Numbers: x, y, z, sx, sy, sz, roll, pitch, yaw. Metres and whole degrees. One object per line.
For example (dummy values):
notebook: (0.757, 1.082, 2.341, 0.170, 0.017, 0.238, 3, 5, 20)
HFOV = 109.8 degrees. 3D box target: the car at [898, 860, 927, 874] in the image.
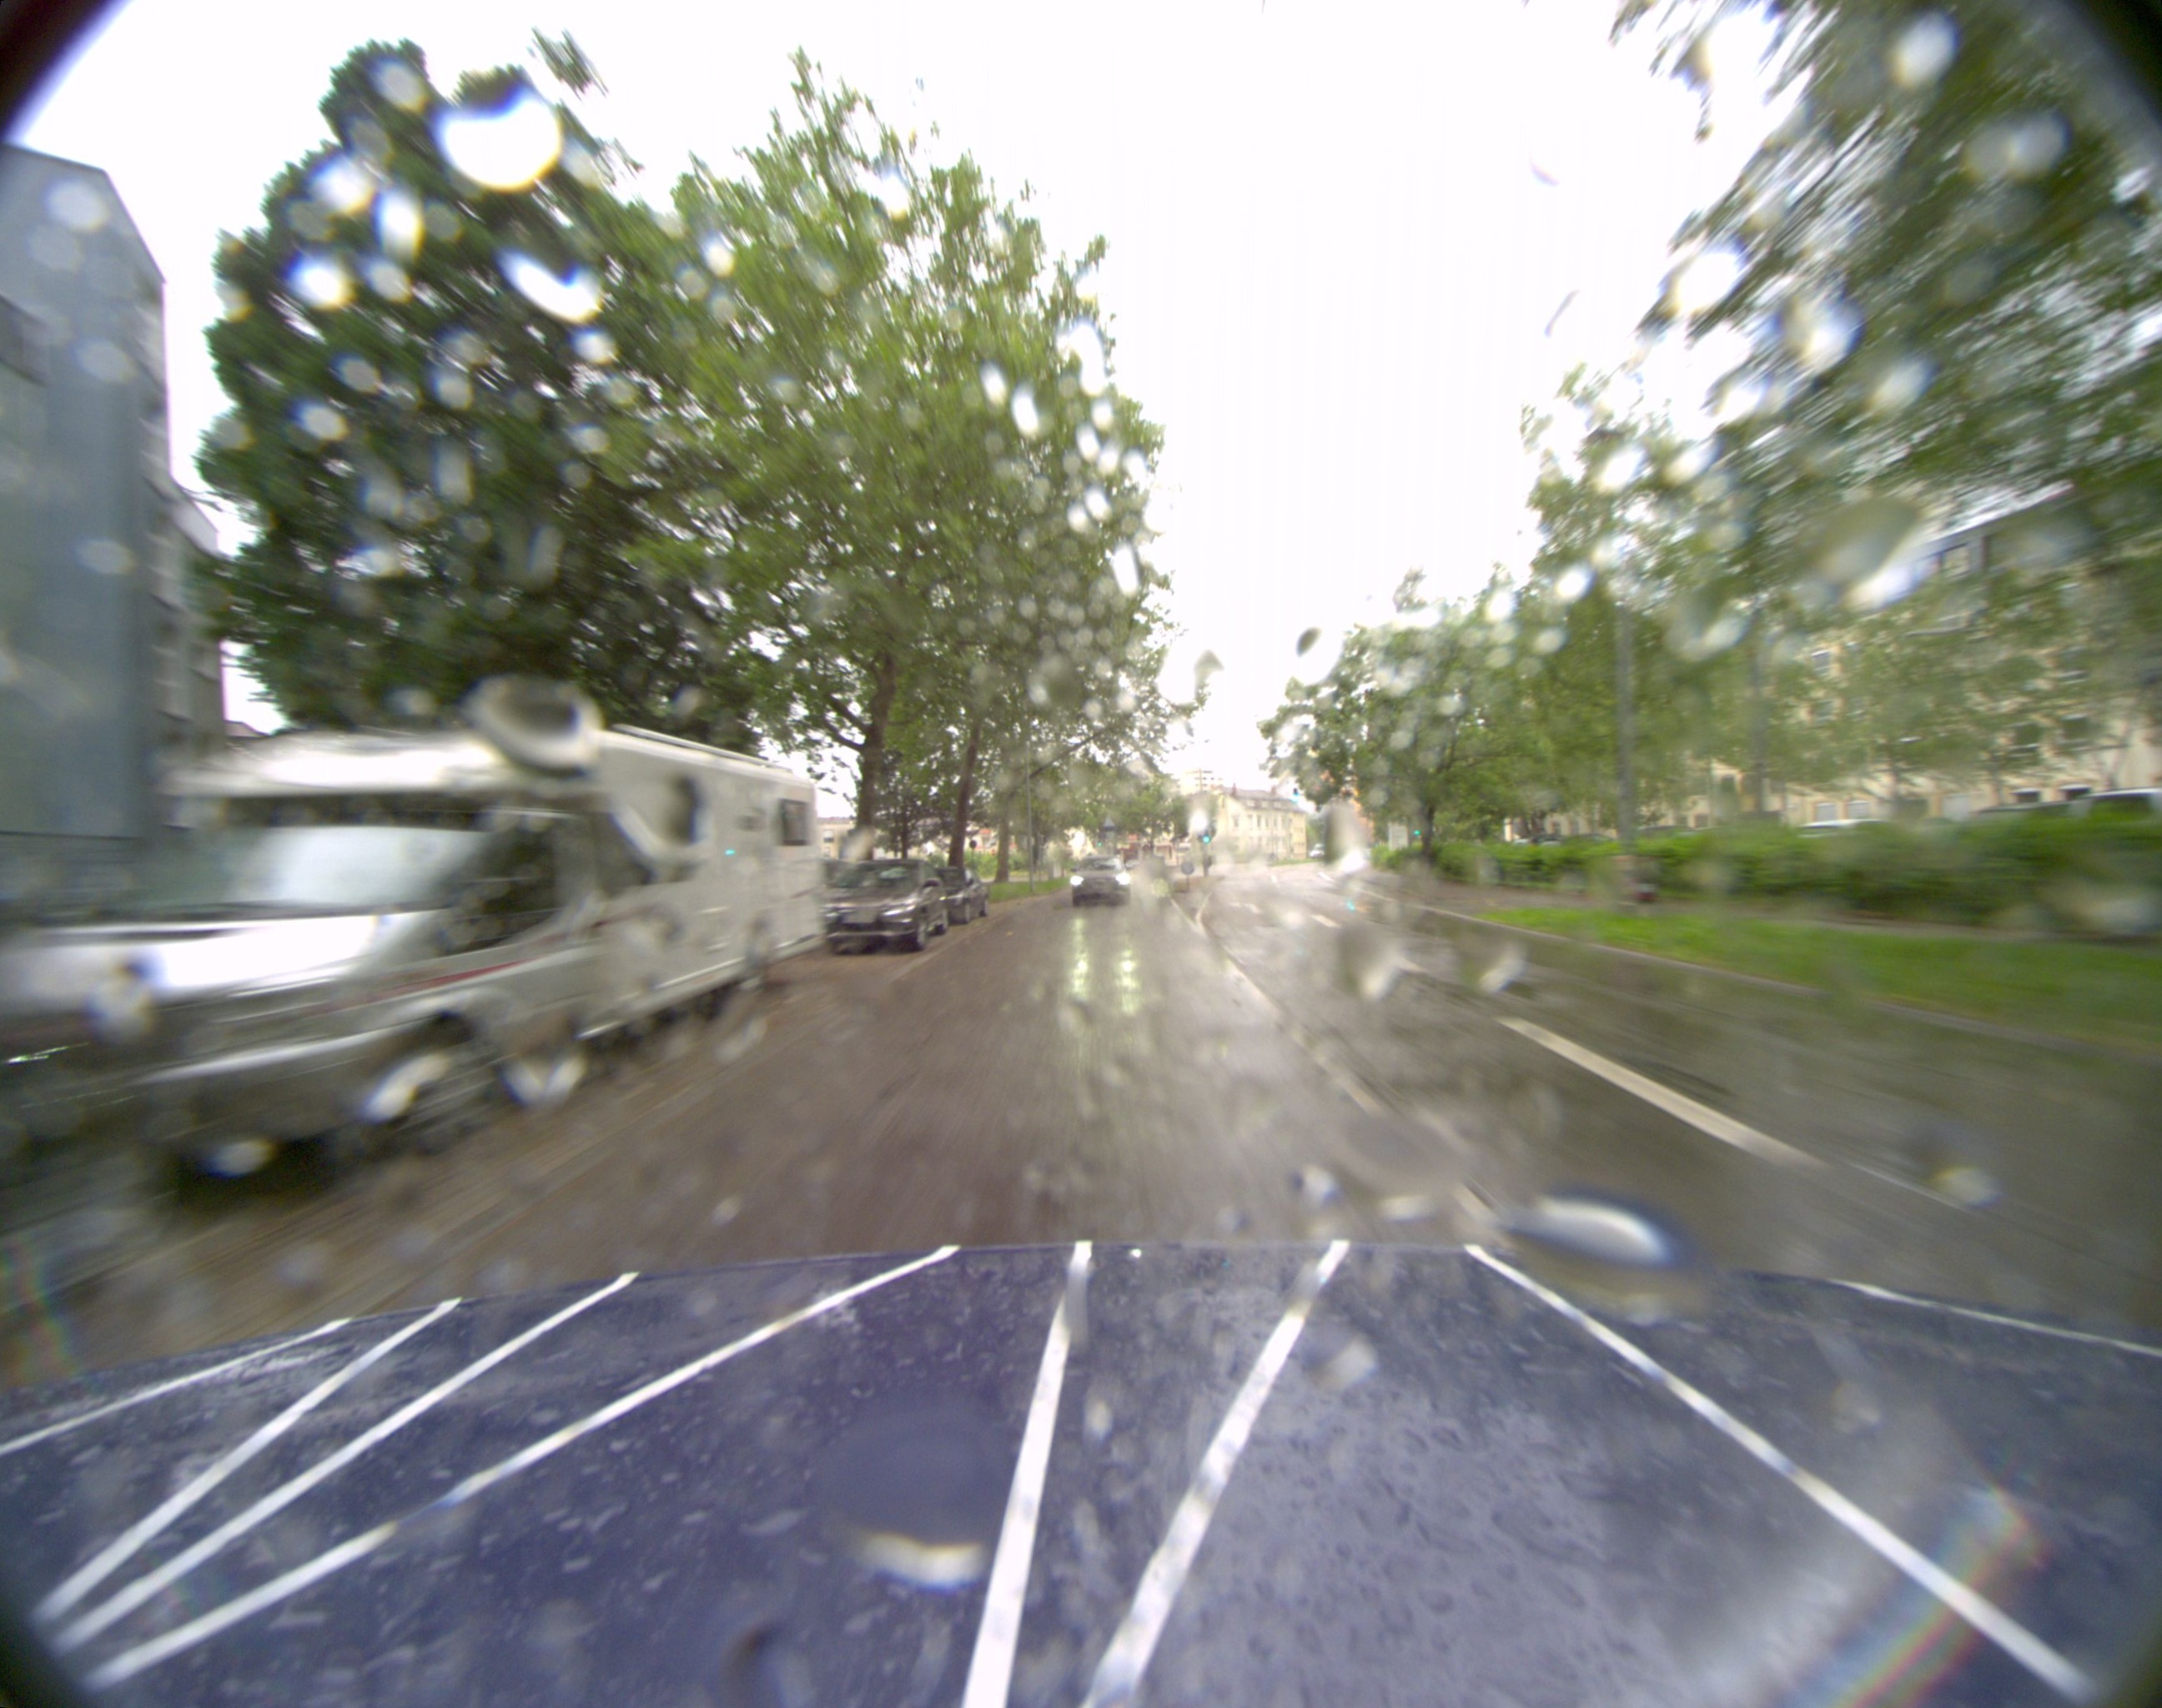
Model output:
car: (-23.210, 1.802, 104.761, 3.990, 1.674, 1.913, -4, 0, 44)

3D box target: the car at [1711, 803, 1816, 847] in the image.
car: (57.067, -2.386, 63.644, 6.213, 3.175, 2.838, -3, 0, -3)

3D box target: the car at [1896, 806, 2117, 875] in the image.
car: (25.697, -0.359, 21.191, 3.997, 1.628, 1.709, -3, 0, 0)

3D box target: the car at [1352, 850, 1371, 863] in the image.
car: (34.680, 0.317, 93.920, 1.546, 1.389, 4.201, -4, -1, 27)

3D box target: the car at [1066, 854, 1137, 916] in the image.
car: (0.683, 0.921, 24.134, 1.961, 1.701, 4.175, -3, 0, 2)

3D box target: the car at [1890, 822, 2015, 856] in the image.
car: (43.179, -0.710, 37.697, 3.998, 1.510, 2.000, -2, 0, -2)

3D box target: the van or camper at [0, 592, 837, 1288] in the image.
van or camper: (-4.513, 0.395, 6.536, 2.324, 2.791, 6.864, -3, 0, 1)

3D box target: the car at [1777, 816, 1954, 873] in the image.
car: (26.403, -0.294, 25.680, 3.998, 1.628, 1.999, -3, 0, -4)

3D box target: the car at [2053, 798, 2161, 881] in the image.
car: (25.772, -0.418, 17.712, 3.998, 1.822, 1.854, -3, 0, -4)

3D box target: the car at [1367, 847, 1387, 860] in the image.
car: (40.280, -0.054, 103.287, 1.995, 1.558, 4.007, -3, 0, 28)

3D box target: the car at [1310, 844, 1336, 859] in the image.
car: (38.718, -0.418, 121.540, 2.190, 2.242, 4.894, -3, 0, 40)

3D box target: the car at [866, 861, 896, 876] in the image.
car: (-26.635, 1.908, 100.977, 3.989, 1.849, 2.004, -4, 0, 44)

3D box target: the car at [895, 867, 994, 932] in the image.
car: (-3.377, 1.083, 19.522, 1.552, 1.382, 4.150, -3, 0, 2)

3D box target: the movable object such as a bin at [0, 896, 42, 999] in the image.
movable object such as a bin: (-16.218, 1.361, 10.825, 1.163, 1.464, 1.222, 0, -1, -18)

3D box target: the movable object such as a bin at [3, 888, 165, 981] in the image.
movable object such as a bin: (-16.936, 1.322, 12.971, 1.163, 1.464, 1.221, 0, -1, -19)

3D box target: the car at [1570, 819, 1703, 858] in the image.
car: (22.518, -0.612, 30.944, 3.994, 1.330, 1.718, -3, 0, 11)

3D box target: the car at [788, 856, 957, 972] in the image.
car: (-3.624, 0.951, 14.135, 1.921, 1.611, 4.452, -3, 1, -1)

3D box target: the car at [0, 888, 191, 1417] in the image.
car: (-4.019, 0.966, 1.396, 1.693, 1.643, 2.943, -3, 0, -16)
